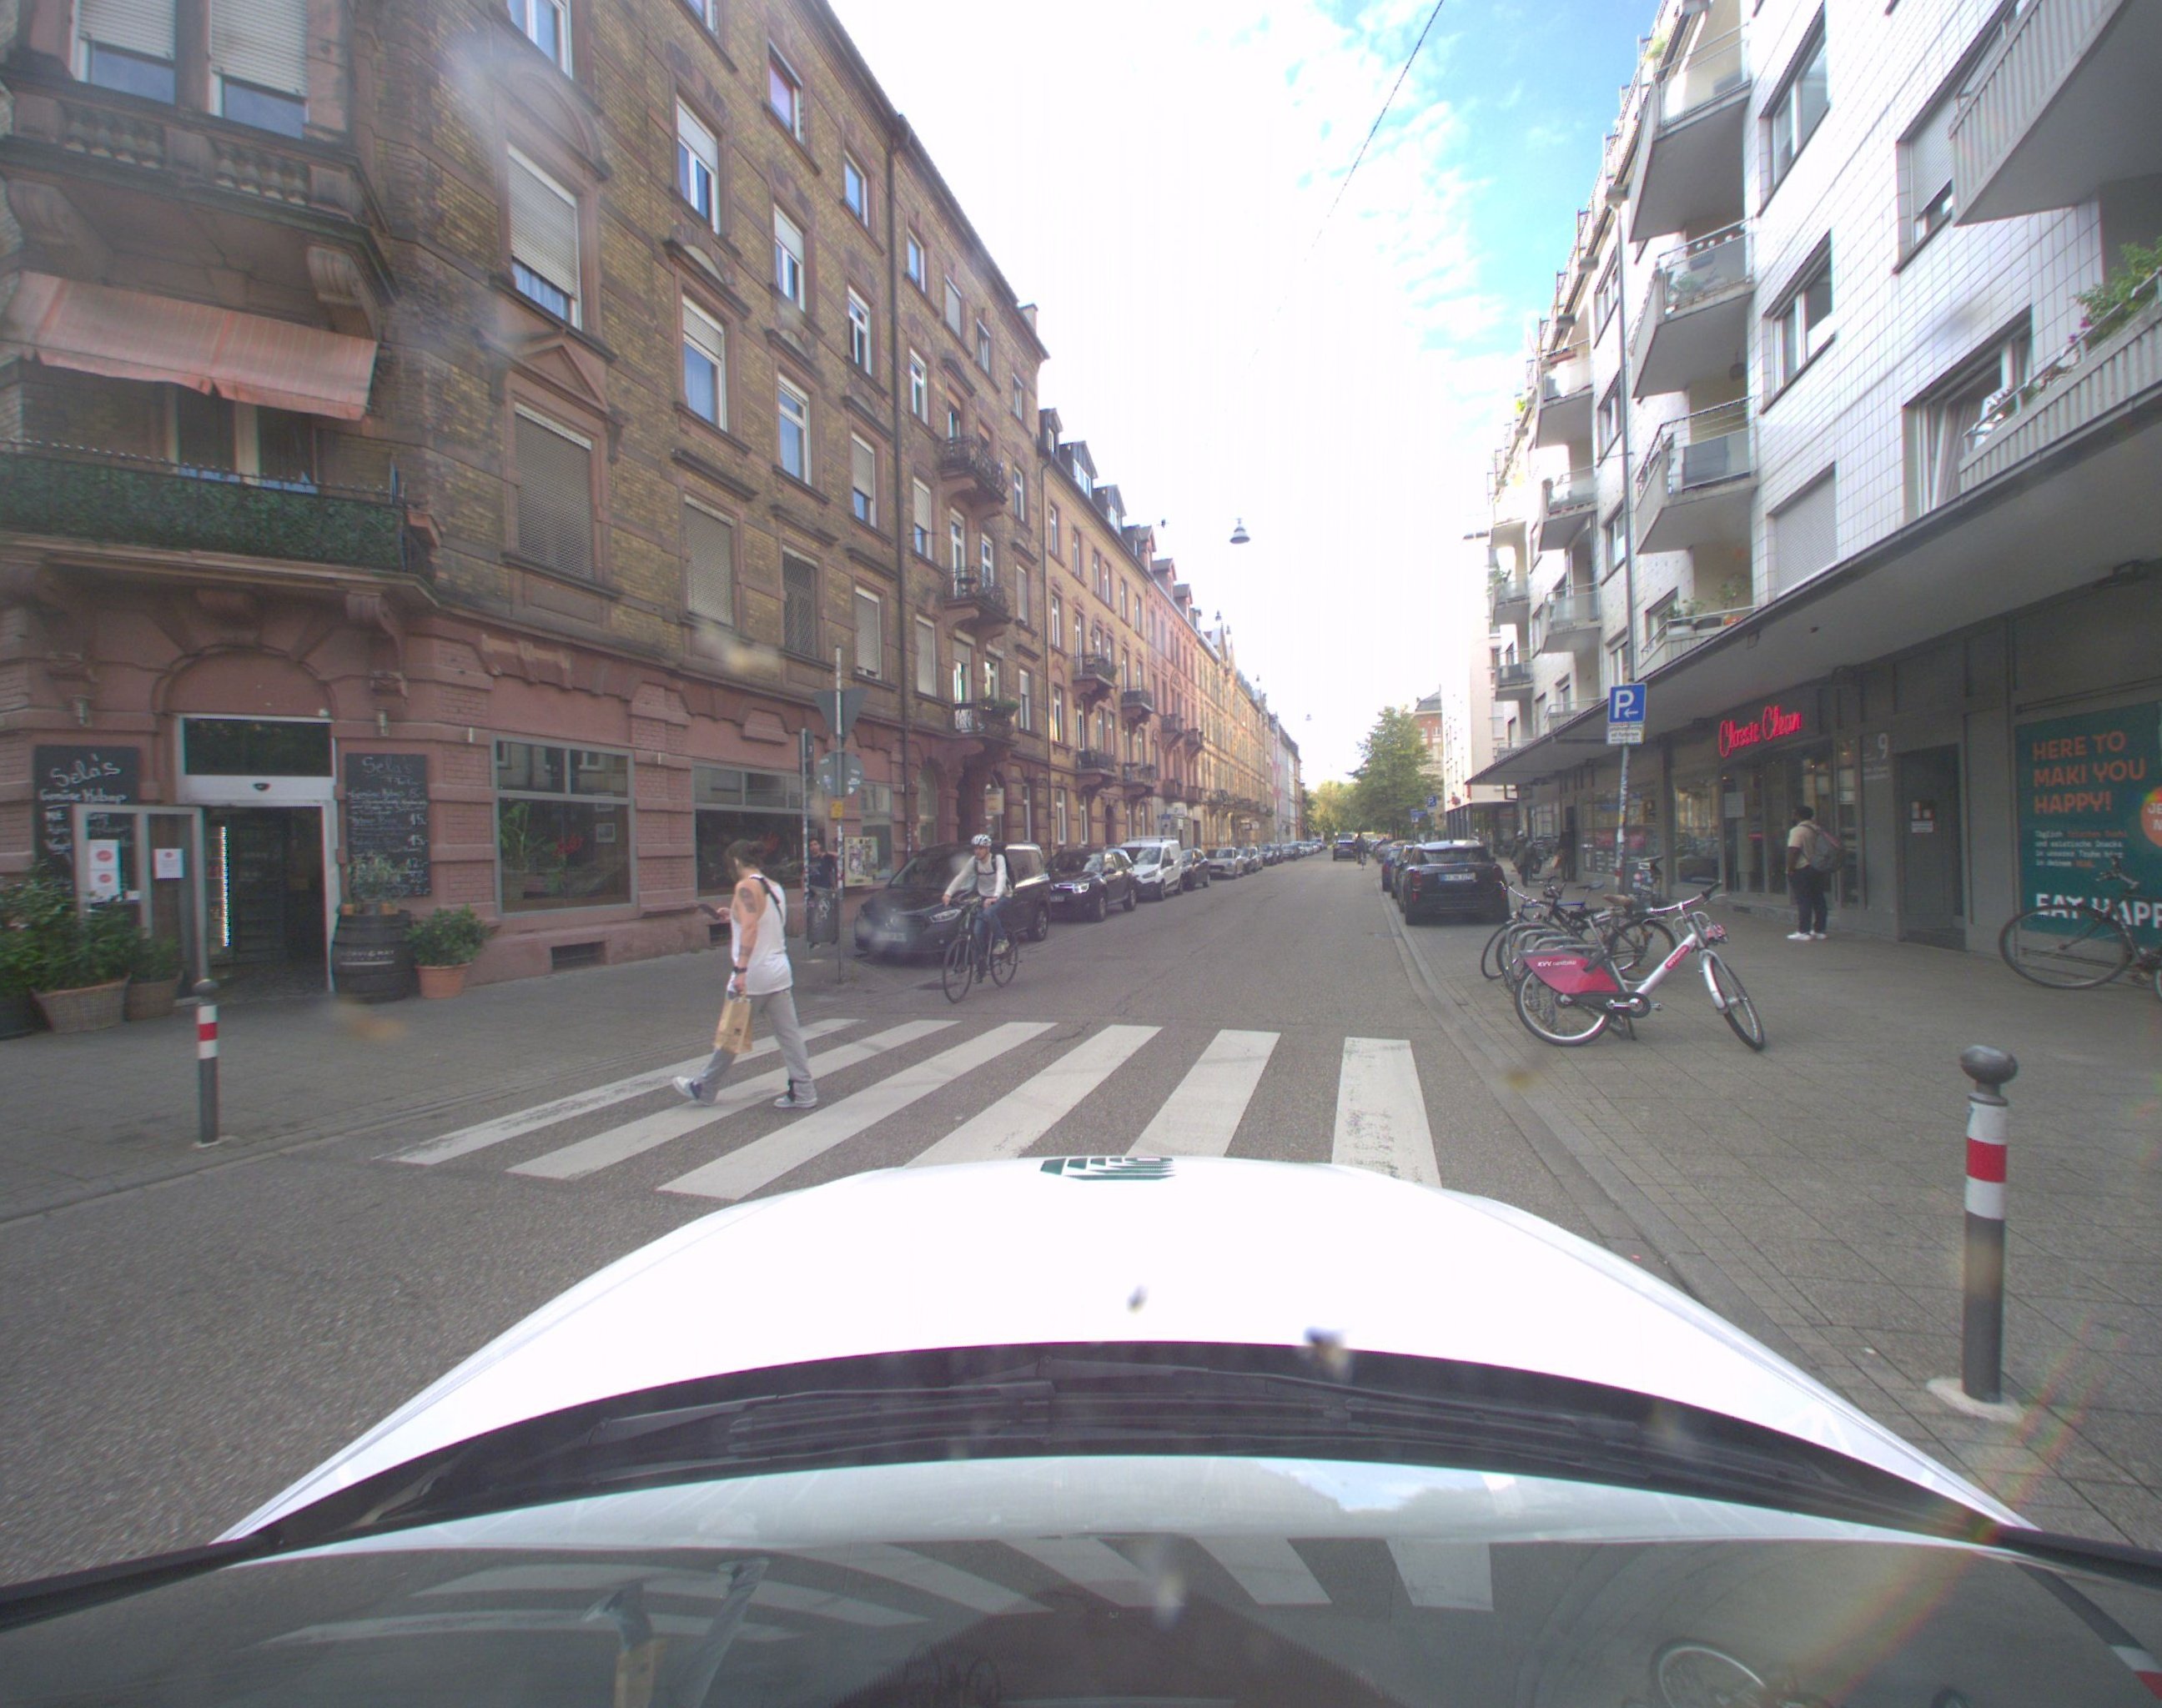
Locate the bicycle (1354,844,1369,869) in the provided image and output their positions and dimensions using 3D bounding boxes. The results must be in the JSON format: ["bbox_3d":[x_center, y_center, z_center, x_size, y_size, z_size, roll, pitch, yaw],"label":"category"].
[{"bbox_3d":[14.591,0.125,42.377,0.712,1.274,1.893,0,1,20],"label":"bicycle"}]

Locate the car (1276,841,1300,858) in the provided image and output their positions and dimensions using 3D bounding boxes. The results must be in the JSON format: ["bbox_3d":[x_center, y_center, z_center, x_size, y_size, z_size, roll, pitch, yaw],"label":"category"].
[{"bbox_3d":[18.237,-0.386,71.684,1.676,1.369,3.886,3,2,19],"label":"car"}]

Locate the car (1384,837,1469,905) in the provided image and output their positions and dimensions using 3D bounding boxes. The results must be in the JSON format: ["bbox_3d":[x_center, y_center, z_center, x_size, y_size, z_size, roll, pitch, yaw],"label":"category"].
[{"bbox_3d":[9.033,0.389,21.560,1.675,1.577,3.920,-2,0,18],"label":"car"}]

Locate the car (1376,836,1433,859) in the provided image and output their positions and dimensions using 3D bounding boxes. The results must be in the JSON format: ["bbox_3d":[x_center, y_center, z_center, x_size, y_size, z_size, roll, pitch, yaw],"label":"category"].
[{"bbox_3d":[24.789,-0.469,62.471,3.738,1.546,1.735,-4,-1,9],"label":"car"}]

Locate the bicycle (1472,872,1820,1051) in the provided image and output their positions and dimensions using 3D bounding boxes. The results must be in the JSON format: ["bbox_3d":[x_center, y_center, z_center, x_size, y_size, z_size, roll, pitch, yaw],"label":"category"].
[{"bbox_3d":[4.024,0.775,6.019,1.868,1.125,0.912,-4,0,17],"label":"bicycle"}]

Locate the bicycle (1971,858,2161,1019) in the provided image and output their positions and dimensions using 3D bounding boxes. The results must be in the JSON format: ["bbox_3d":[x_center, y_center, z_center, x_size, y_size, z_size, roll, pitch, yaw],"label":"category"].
[{"bbox_3d":[7.980,0.583,6.244,0.735,1.015,1.792,-4,0,19],"label":"bicycle"}]

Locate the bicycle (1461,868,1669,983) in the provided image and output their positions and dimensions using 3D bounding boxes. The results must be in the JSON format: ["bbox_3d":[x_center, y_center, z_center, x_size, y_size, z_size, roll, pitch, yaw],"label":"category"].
[{"bbox_3d":[5.134,0.756,8.726,1.777,1.070,0.588,-4,0,9],"label":"bicycle"}]

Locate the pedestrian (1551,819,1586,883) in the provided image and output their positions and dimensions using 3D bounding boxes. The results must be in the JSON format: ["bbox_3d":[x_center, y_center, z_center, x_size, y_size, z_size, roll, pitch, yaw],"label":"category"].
[{"bbox_3d":[14.619,-0.091,24.414,0.648,1.860,0.701,-2,0,-42],"label":"pedestrian"}]

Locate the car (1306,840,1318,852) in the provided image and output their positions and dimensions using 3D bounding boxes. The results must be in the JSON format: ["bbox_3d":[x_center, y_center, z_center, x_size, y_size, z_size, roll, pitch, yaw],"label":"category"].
[{"bbox_3d":[35.309,-1.235,124.393,1.676,1.821,3.886,0,1,18],"label":"car"}]

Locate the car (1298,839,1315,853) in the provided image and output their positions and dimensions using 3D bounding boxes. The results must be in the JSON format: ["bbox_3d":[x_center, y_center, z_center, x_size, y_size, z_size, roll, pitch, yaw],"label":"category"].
[{"bbox_3d":[26.255,-0.915,94.698,1.676,1.550,3.886,0,1,18],"label":"car"}]

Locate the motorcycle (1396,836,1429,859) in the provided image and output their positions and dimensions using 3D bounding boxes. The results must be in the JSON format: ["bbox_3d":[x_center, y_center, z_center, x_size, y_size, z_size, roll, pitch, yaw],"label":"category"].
[{"bbox_3d":[24.515,-0.450,60.188,2.131,1.530,0.690,-4,0,23],"label":"motorcycle"}]

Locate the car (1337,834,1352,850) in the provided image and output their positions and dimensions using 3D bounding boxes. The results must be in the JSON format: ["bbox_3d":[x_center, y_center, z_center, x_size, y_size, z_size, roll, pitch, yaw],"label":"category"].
[{"bbox_3d":[33.628,-1.593,104.003,1.768,2.019,3.906,0,1,18],"label":"car"}]

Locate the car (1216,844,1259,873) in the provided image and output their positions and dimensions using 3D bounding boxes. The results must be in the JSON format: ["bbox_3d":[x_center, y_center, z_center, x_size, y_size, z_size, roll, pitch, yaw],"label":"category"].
[{"bbox_3d":[8.434,0.213,43.729,1.727,1.483,4.003,0,1,19],"label":"car"}]

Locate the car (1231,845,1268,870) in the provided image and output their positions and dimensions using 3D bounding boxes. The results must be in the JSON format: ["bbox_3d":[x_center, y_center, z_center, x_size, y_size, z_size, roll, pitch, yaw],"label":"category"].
[{"bbox_3d":[9.942,0.204,47.911,1.676,1.386,3.886,0,1,19],"label":"car"}]

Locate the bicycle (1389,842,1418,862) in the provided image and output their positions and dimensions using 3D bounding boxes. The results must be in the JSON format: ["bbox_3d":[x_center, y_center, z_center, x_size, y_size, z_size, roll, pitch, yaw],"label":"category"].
[{"bbox_3d":[21.564,-0.130,54.458,1.778,1.159,0.503,-4,0,22],"label":"bicycle"}]

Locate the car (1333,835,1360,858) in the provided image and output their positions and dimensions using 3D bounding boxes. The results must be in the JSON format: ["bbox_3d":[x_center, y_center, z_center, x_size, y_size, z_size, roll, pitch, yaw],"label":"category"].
[{"bbox_3d":[21.152,-0.558,64.784,1.948,1.740,4.061,-1,0,19],"label":"car"}]

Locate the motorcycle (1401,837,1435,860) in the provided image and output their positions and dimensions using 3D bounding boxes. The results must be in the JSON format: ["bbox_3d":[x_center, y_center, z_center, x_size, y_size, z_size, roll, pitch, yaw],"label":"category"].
[{"bbox_3d":[23.698,-0.403,57.224,2.131,1.434,0.769,-4,0,23],"label":"motorcycle"}]

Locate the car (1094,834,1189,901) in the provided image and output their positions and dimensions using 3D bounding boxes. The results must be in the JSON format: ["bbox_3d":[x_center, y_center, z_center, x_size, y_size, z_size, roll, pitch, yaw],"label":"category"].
[{"bbox_3d":[1.995,0.352,25.384,1.904,1.871,4.458,-1,1,18],"label":"car"}]

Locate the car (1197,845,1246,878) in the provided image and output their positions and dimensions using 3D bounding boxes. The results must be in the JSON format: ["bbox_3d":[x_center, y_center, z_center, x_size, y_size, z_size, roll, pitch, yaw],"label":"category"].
[{"bbox_3d":[6.793,0.322,39.111,1.727,1.483,4.003,0,1,19],"label":"car"}]

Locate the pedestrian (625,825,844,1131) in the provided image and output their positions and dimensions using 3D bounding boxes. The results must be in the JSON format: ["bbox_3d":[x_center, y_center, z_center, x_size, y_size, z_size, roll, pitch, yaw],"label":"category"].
[{"bbox_3d":[-2.065,0.686,4.997,1.019,1.671,0.802,-2,-1,-9],"label":"pedestrian"}]

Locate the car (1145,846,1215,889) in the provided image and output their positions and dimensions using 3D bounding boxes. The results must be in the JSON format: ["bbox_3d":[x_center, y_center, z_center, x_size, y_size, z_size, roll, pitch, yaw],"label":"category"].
[{"bbox_3d":[3.755,0.447,30.343,1.727,1.483,4.003,0,1,20],"label":"car"}]

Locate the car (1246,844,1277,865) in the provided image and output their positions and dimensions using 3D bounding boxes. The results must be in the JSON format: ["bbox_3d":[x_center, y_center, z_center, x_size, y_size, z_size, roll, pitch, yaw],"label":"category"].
[{"bbox_3d":[12.432,-0.004,55.850,1.676,1.386,3.886,0,1,19],"label":"car"}]

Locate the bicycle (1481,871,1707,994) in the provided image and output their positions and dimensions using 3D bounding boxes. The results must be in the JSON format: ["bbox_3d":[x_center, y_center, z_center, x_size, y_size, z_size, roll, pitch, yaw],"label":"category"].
[{"bbox_3d":[5.038,0.769,8.094,1.777,1.070,0.570,-4,0,9],"label":"bicycle"}]

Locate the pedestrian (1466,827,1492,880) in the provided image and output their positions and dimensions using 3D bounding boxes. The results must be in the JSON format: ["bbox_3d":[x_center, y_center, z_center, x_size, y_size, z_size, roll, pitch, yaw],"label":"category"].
[{"bbox_3d":[13.312,-0.031,27.240,0.607,1.726,1.132,-2,1,20],"label":"pedestrian"}]

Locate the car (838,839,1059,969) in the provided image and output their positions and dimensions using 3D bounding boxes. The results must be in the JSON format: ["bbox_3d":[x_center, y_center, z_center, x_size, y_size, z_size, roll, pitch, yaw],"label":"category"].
[{"bbox_3d":[-1.951,0.648,13.508,1.746,1.773,4.427,0,1,18],"label":"car"}]

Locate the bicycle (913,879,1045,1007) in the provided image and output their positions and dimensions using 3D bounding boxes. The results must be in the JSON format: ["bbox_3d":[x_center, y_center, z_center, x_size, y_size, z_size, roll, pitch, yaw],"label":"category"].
[{"bbox_3d":[-1.103,0.955,9.402,0.695,1.220,2.125,-3,-1,15],"label":"bicycle"}]

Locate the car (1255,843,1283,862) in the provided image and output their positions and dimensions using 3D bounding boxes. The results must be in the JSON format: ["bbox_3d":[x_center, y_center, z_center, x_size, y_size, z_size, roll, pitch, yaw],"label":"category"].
[{"bbox_3d":[14.341,-0.149,62.026,1.676,1.437,3.886,0,1,19],"label":"car"}]

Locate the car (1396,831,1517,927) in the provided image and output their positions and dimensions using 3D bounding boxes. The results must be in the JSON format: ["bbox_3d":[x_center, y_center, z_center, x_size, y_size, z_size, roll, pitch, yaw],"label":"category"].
[{"bbox_3d":[7.408,0.419,16.416,1.777,1.605,3.944,-4,0,20],"label":"car"}]

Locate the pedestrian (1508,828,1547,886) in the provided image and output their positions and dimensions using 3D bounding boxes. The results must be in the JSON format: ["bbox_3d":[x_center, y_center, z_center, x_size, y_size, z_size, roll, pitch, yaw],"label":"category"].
[{"bbox_3d":[12.694,0.089,23.192,0.817,1.588,0.785,-2,0,21],"label":"pedestrian"}]

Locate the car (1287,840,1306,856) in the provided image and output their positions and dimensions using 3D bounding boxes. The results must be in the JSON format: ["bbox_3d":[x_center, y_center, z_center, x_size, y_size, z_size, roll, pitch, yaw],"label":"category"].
[{"bbox_3d":[22.098,-0.644,83.471,1.676,1.550,3.885,0,1,18],"label":"car"}]

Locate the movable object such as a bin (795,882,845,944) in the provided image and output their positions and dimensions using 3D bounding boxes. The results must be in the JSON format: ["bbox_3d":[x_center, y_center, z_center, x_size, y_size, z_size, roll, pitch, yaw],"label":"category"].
[{"bbox_3d":[-3.218,0.721,10.061,0.380,0.714,0.478,0,1,15],"label":"movable object such as a bin"}]

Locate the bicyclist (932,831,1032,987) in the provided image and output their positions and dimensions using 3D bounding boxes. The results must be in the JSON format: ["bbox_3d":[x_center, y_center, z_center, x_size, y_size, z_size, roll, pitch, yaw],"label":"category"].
[{"bbox_3d":[-1.124,0.601,9.436,0.695,1.677,1.117,-3,-1,15],"label":"bicyclist"}]

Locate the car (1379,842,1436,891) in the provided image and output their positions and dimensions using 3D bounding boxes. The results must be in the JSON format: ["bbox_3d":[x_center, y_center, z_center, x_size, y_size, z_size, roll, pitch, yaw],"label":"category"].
[{"bbox_3d":[10.830,0.380,27.203,1.582,1.439,4.051,-2,0,20],"label":"car"}]

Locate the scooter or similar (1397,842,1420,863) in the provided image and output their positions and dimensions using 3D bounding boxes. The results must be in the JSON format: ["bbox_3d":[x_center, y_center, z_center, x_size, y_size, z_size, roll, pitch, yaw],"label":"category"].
[{"bbox_3d":[19.481,-0.087,48.460,0.380,1.147,1.195,-5,1,-39],"label":"scooter or similar"}]

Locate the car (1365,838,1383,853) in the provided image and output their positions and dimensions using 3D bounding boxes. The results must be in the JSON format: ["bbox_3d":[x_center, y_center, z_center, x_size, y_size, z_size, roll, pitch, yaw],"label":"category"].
[{"bbox_3d":[34.016,-0.997,94.533,1.914,1.638,4.020,0,1,19],"label":"car"}]

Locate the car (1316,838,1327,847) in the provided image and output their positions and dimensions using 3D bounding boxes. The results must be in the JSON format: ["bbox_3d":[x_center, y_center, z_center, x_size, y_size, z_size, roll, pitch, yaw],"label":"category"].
[{"bbox_3d":[41.085,-1.973,139.199,1.676,1.550,3.886,0,1,18],"label":"car"}]

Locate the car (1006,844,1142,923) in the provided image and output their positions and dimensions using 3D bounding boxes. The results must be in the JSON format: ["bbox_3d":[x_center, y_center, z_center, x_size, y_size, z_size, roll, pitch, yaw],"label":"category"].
[{"bbox_3d":[-0.023,0.609,19.428,1.977,1.638,4.165,-1,1,18],"label":"car"}]

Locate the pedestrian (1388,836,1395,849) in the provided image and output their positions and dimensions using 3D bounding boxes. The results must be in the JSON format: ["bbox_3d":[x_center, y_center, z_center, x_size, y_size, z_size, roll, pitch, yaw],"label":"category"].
[{"bbox_3d":[51.133,-1.871,134.137,0.987,2.230,0.903,0,1,20],"label":"pedestrian"}]

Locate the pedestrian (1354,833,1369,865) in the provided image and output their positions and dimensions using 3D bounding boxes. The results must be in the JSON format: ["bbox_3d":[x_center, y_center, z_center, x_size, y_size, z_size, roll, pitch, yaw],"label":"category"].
[{"bbox_3d":[14.601,-0.242,42.427,0.712,1.650,0.935,0,1,20],"label":"pedestrian"}]

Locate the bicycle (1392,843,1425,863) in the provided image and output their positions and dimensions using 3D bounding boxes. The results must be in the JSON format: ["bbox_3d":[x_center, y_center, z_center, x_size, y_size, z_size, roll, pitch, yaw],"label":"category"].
[{"bbox_3d":[19.778,-0.069,49.146,1.753,1.057,0.413,-4,0,14],"label":"bicycle"}]

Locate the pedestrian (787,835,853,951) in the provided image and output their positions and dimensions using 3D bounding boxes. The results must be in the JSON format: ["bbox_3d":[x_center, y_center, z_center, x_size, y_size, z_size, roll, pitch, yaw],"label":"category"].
[{"bbox_3d":[-4.279,0.602,13.400,0.672,1.840,0.861,1,1,13],"label":"pedestrian"}]

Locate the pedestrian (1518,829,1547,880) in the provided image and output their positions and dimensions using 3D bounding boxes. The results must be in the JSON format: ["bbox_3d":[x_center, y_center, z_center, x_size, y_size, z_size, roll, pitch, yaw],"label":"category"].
[{"bbox_3d":[14.648,0.015,26.447,0.638,1.588,0.785,-4,-1,21],"label":"pedestrian"}]

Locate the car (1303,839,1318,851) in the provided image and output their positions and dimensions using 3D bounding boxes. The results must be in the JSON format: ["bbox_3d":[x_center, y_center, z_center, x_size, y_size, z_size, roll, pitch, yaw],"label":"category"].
[{"bbox_3d":[30.758,-1.252,108.984,1.676,1.550,3.886,0,1,18],"label":"car"}]

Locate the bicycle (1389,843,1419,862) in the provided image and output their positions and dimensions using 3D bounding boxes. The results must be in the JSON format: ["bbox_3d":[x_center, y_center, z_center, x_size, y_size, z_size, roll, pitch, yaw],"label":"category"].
[{"bbox_3d":[20.984,-0.092,52.874,1.750,1.099,0.414,-4,0,22],"label":"bicycle"}]

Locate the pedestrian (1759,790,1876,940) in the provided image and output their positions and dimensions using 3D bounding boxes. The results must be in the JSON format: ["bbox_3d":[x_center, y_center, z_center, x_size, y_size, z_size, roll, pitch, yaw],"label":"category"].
[{"bbox_3d":[9.141,0.130,10.151,0.708,1.746,0.821,-4,0,17],"label":"pedestrian"}]
